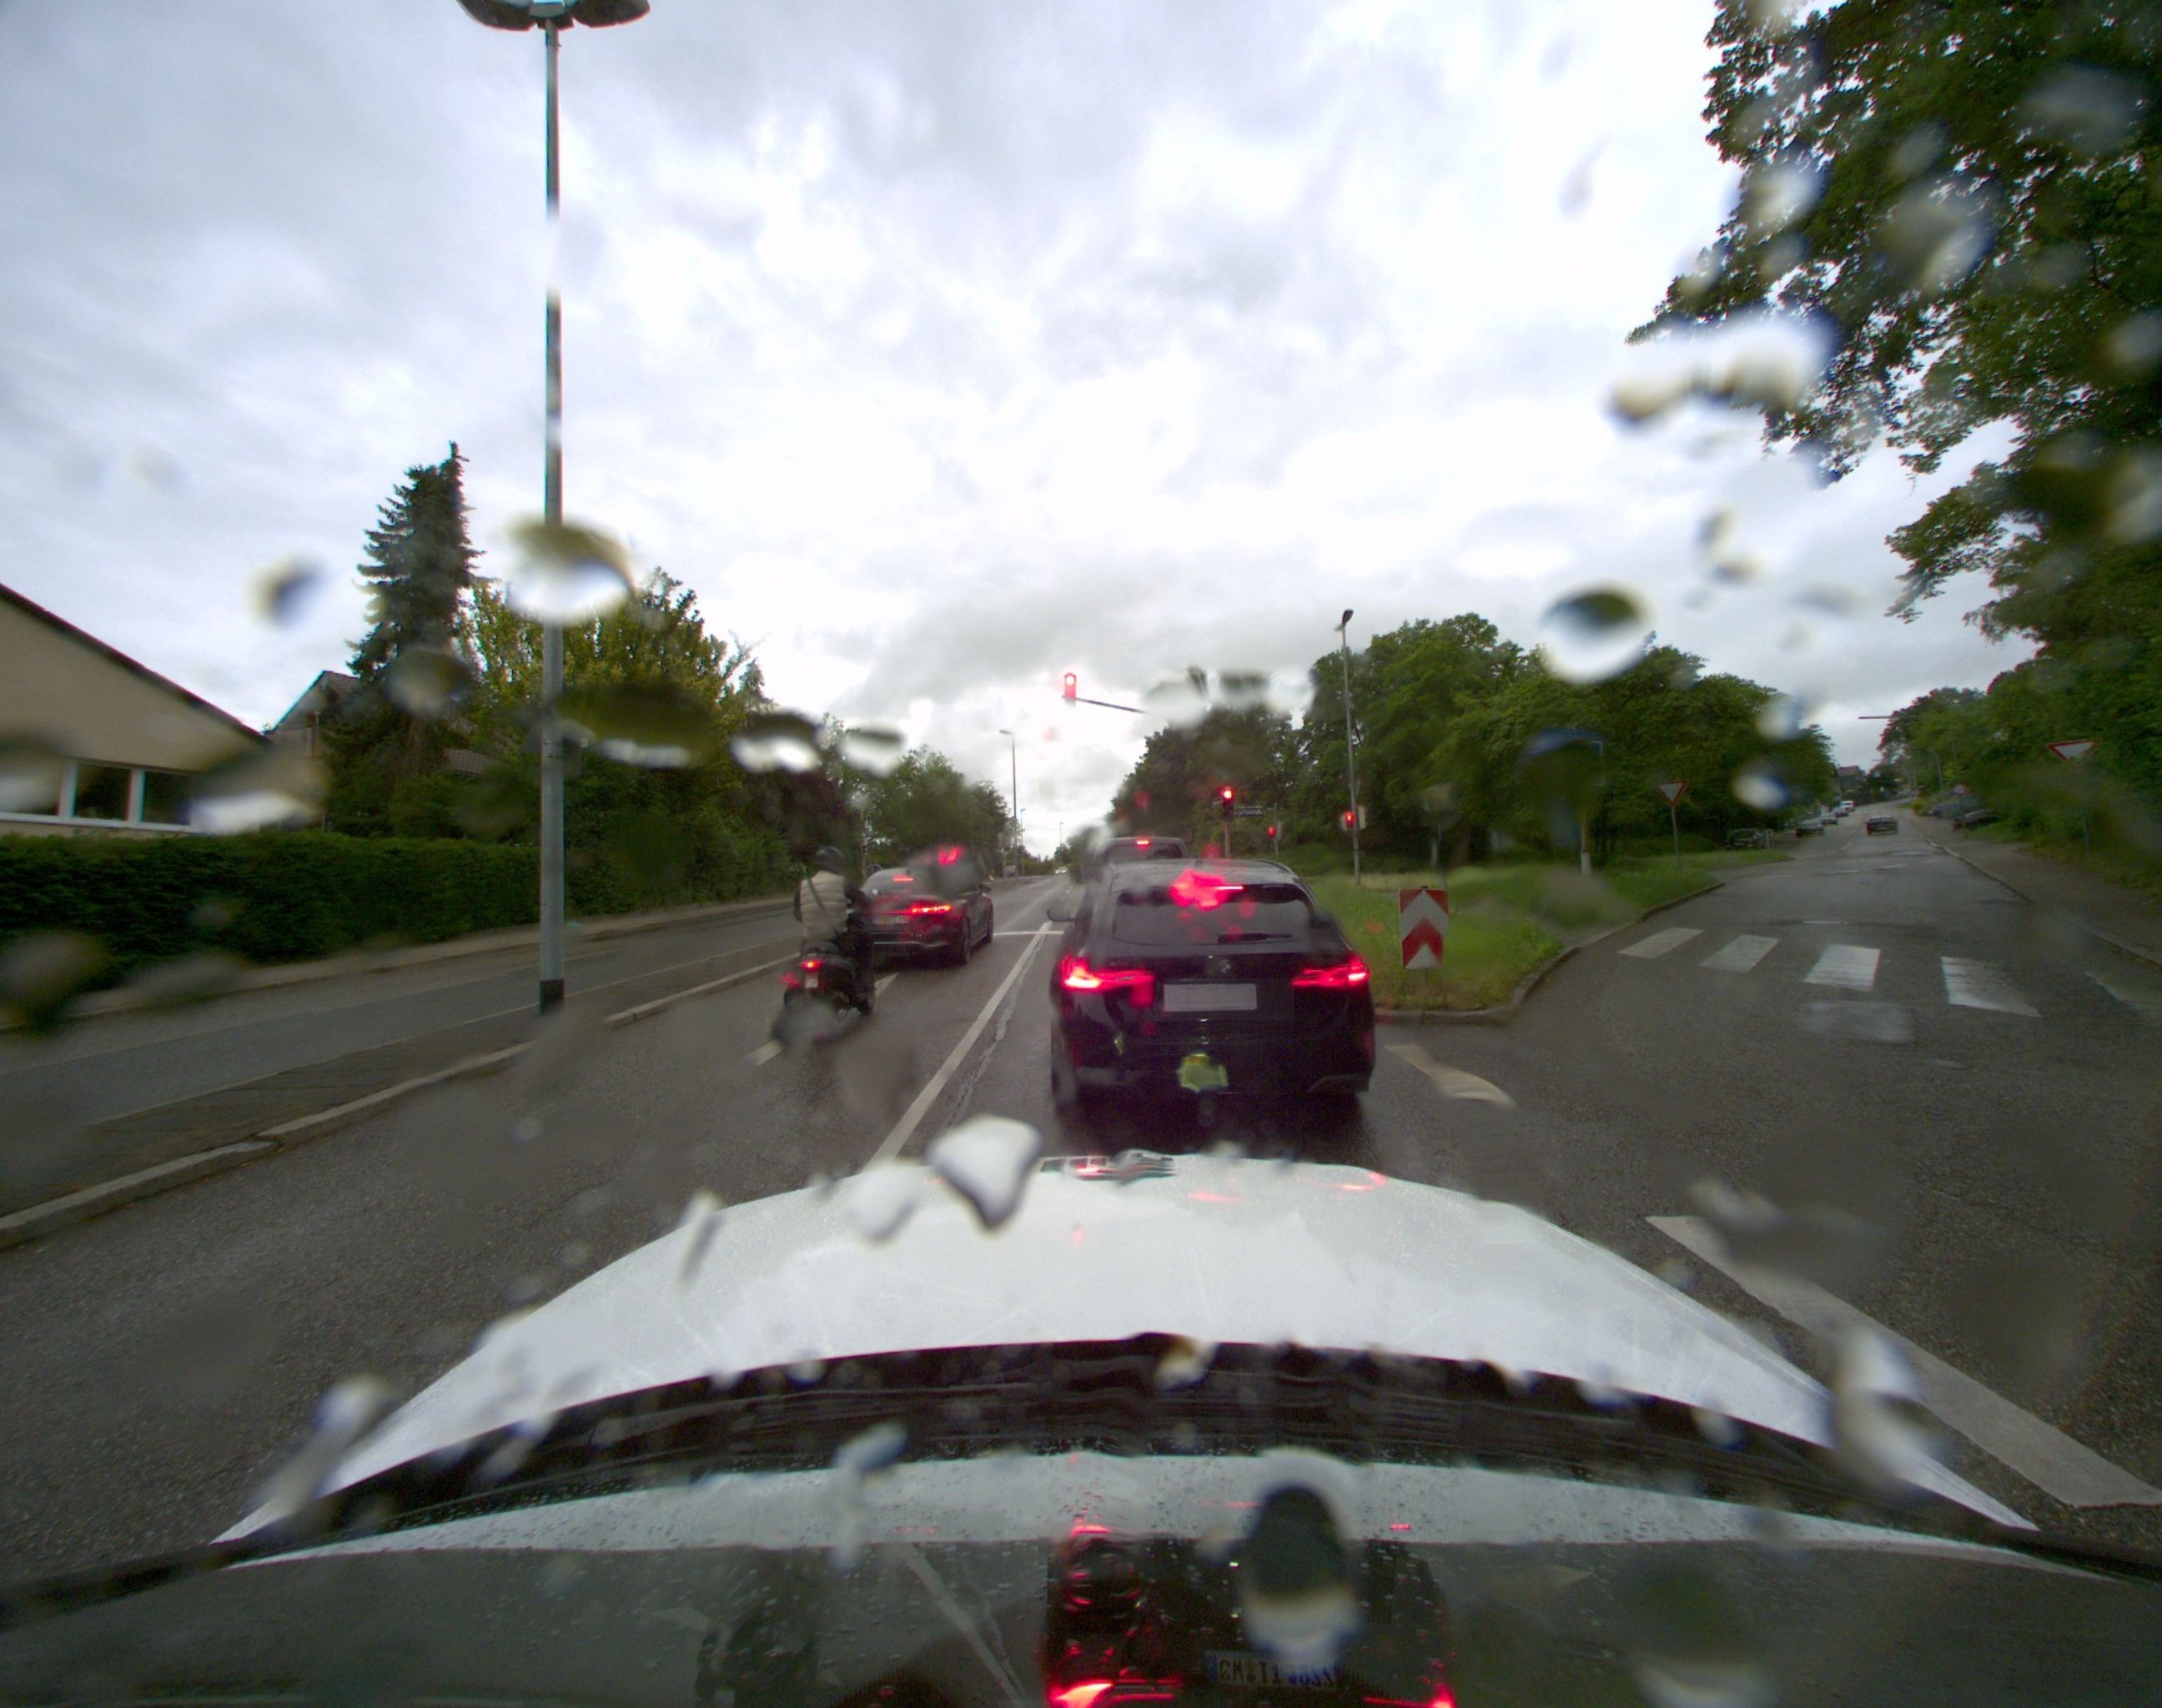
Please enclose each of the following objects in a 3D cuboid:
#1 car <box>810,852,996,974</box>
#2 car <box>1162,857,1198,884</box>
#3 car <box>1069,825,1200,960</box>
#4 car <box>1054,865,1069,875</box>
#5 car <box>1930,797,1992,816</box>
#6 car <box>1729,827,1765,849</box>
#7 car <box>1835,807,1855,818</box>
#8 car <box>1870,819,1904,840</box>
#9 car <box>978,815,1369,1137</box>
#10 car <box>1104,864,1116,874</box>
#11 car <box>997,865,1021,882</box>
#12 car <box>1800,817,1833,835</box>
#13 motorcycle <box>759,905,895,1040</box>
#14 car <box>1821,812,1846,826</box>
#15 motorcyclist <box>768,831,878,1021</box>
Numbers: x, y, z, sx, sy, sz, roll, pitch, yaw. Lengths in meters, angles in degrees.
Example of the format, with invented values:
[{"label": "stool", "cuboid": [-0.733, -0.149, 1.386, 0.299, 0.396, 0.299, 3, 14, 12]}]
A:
[{"label": "car", "cuboid": [-2.632, 0.826, 13.183, 1.987, 1.527, 4.326, -4, -1, 0]}, {"label": "car", "cuboid": [6.338, 1.023, 52.415, 1.866, 1.543, 3.954, -4, -1, 2]}, {"label": "car", "cuboid": [0.837, 0.566, 13.458, 1.811, 1.868, 3.954, -1, -1, 2]}, {"label": "car", "cuboid": [-3.552, 2.941, 149.472, 1.982, 1.611, 3.680, -4, -1, 9]}, {"label": "car", "cuboid": [87.622, -4.708, 81.164, 3.949, 1.574, 1.785, -5, -1, 42]}, {"label": "car", "cuboid": [46.029, -1.139, 56.274, 1.655, 1.370, 3.512, -3, 0, 43]}, {"label": "car", "cuboid": [114.508, -6.228, 122.044, 1.880, 1.397, 4.193, -2, -1, 40]}, {"label": "car", "cuboid": [65.073, -2.017, 65.730, 4.187, 1.442, 1.795, -4, 1, -44]}, {"label": "car", "cuboid": [0.651, 0.645, 6.307, 1.889, 1.551, 4.621, -1, -1, 5]}, {"label": "car", "cuboid": [4.634, 2.369, 129.603, 1.691, 1.427, 3.515, -4, -1, 2]}, {"label": "car", "cuboid": [-8.300, 2.273, 94.417, 1.984, 1.826, 4.006, -4, -1, 6]}, {"label": "car", "cuboid": [66.282, -2.530, 73.391, 4.318, 1.450, 1.881, 0, -1, -44]}, {"label": "motorcycle", "cuboid": [-2.322, 1.042, 7.671, 0.688, 1.053, 1.748, -1, -2, 2]}, {"label": "car", "cuboid": [88.215, -4.060, 95.520, 1.971, 1.446, 4.321, -2, -1, 40]}, {"label": "motorcyclist", "cuboid": [-2.332, 0.633, 7.435, 0.762, 1.642, 0.674, -1, -1, 1]}]
